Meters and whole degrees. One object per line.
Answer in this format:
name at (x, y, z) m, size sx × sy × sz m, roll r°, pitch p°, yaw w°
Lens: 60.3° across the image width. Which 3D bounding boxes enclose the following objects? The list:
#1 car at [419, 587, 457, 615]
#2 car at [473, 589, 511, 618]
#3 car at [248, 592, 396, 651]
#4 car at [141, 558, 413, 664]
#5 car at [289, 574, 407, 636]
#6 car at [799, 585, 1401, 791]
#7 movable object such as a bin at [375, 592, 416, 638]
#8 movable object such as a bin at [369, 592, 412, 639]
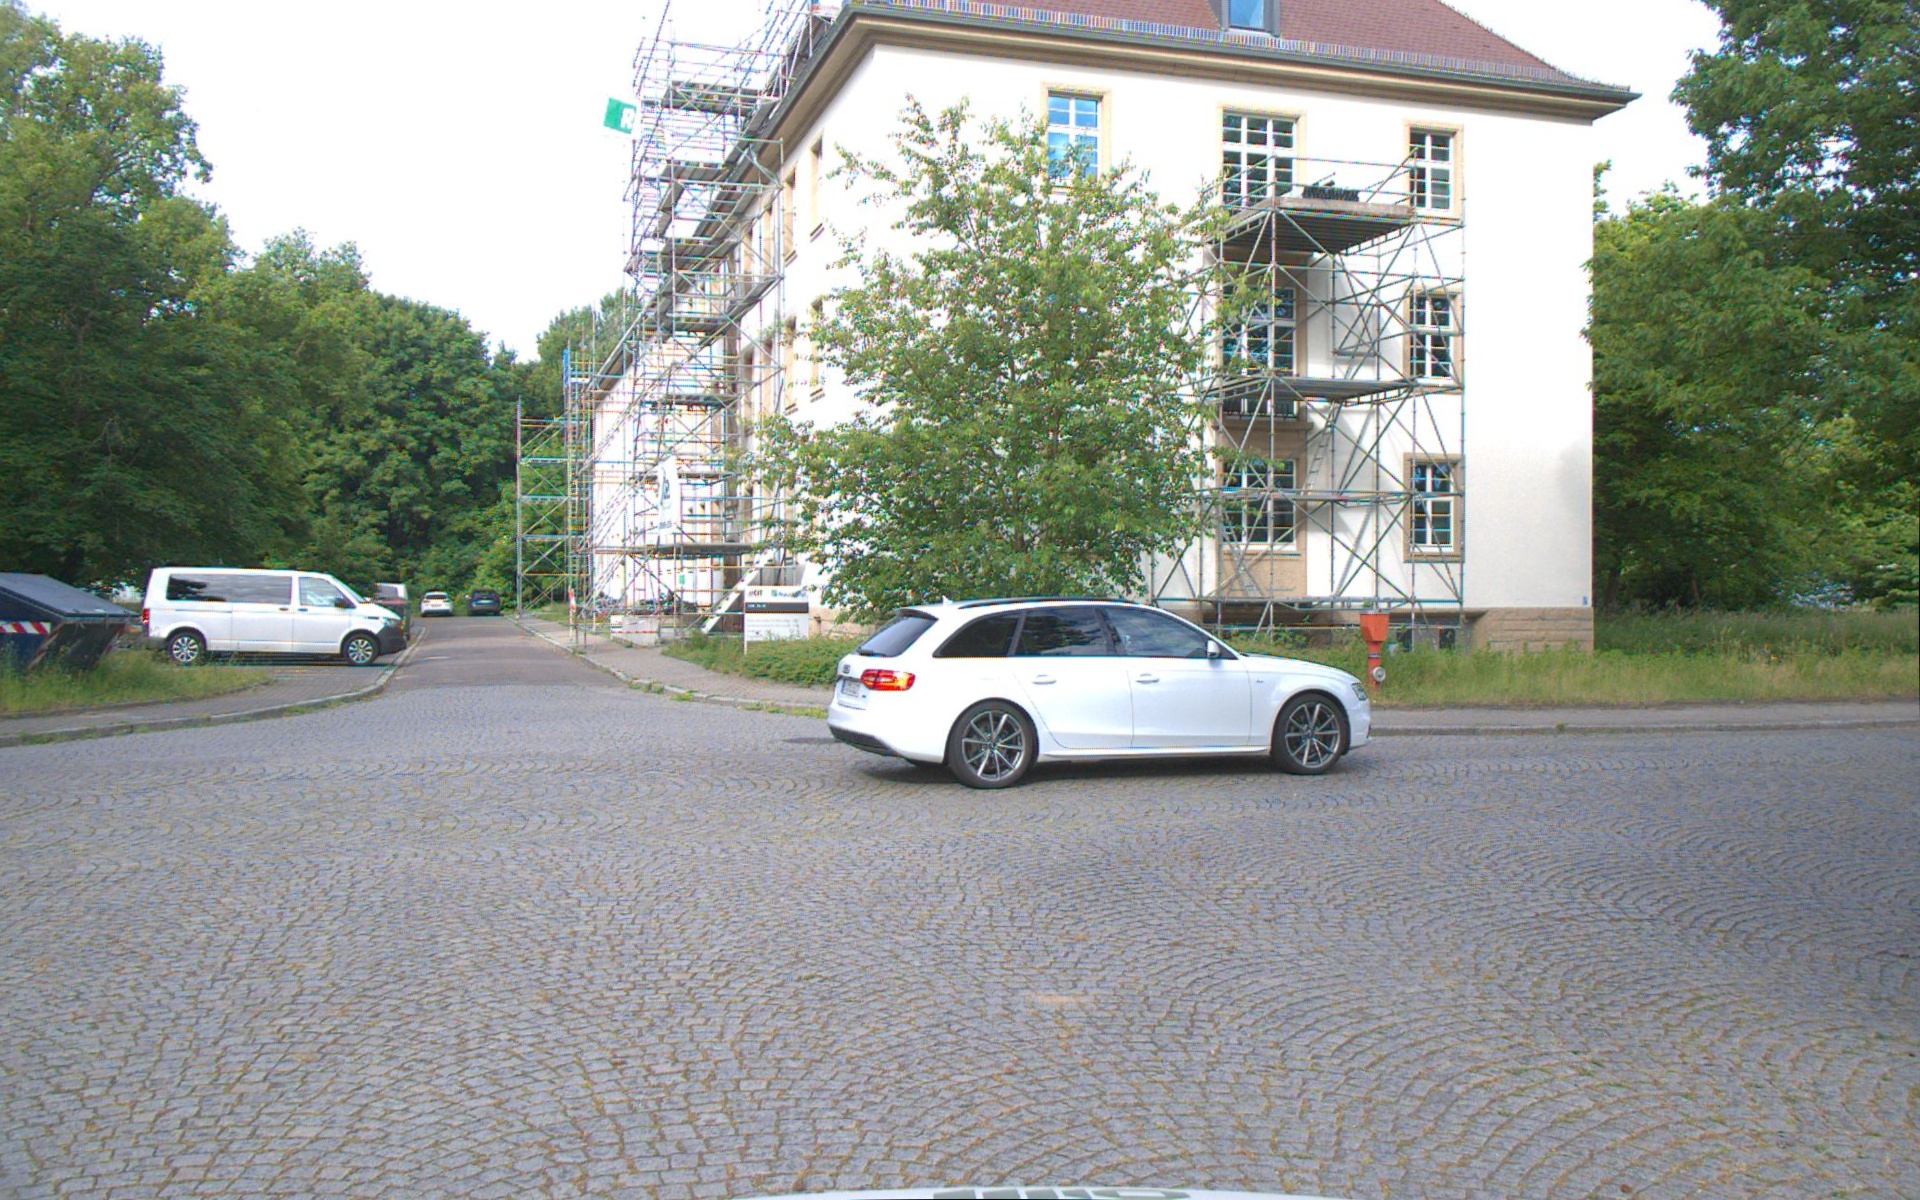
car at (-31.149, 0.071, 98.616) m, size 1.972 × 1.575 × 3.935 m, roll 3°, pitch -1°, yaw -20°
car at (-28.248, 0.223, 99.900) m, size 2.029 × 1.621 × 3.984 m, roll 3°, pitch -1°, yaw -14°
car at (-18.154, 0.616, 47.219) m, size 3.561 × 1.507 × 1.817 m, roll 3°, pitch -2°, yaw -9°
car at (-14.327, 0.265, 35.068) m, size 5.120 × 2.096 × 2.177 m, roll 1°, pitch -1°, yaw -19°
car at (-22.549, 0.205, 61.006) m, size 3.930 × 2.049 × 1.909 m, roll 3°, pitch -2°, yaw -22°
car at (1.126, 0.624, 13.622) m, size 4.618 × 1.462 × 1.845 m, roll 0°, pitch 1°, yaw -19°
movable object such as a bin at (-18.550, 0.492, 54.360) m, size 1.165 × 1.432 × 0.971 m, roll 3°, pitch -2°, yaw -17°
movable object such as a bin at (-18.263, 0.498, 53.068) m, size 1.165 × 1.432 × 0.971 m, roll 3°, pitch -2°, yaw -17°
